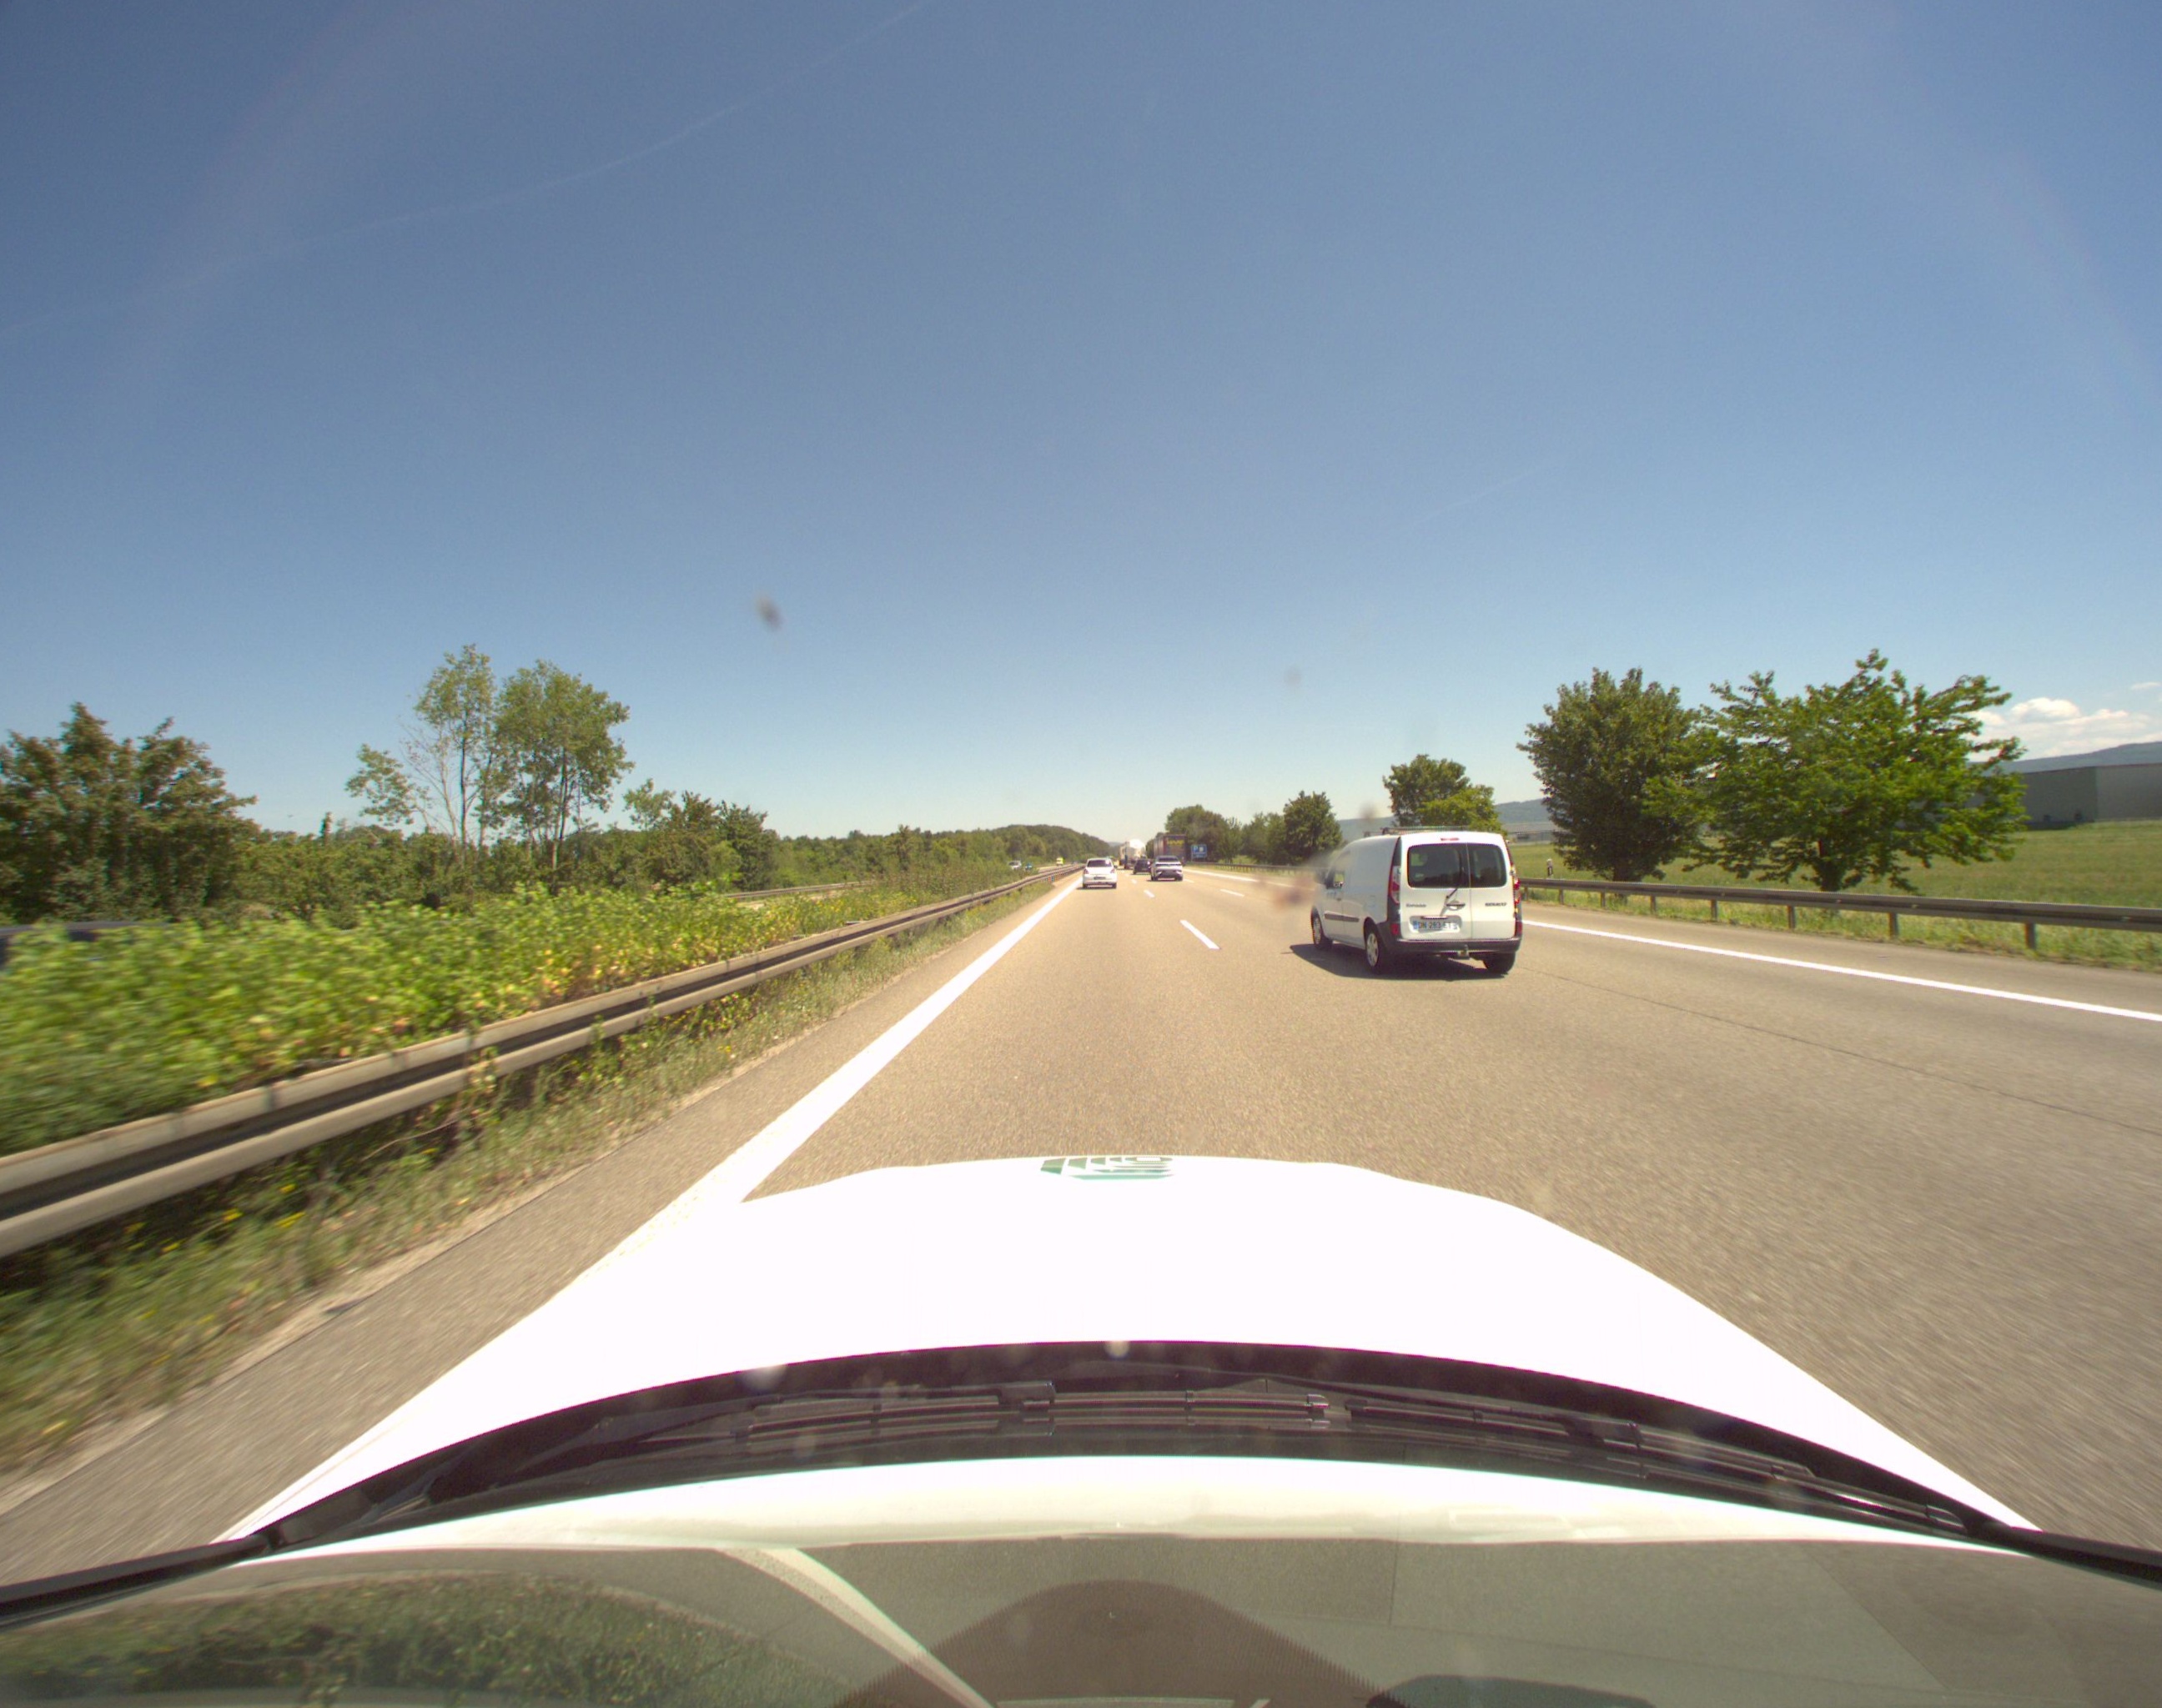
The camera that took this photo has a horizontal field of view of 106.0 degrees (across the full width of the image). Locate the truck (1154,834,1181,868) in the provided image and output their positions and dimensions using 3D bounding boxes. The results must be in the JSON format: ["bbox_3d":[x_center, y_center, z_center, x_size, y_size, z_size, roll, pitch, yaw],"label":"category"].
[{"bbox_3d":[11.181,-0.369,105.852,3.096,4.139,8.061,-1,0,3],"label":"truck"}]

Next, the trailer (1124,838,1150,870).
[{"bbox_3d":[7.373,0.030,108.745,2.901,4.069,12.422,-1,0,2],"label":"trailer"}]

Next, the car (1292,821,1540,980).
[{"bbox_3d":[4.584,0.561,12.027,1.846,1.863,4.704,-1,0,2],"label":"car"}]

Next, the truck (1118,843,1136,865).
[{"bbox_3d":[9.027,-0.040,161.883,3.381,4.214,12.091,-1,0,3],"label":"truck"}]

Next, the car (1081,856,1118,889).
[{"bbox_3d":[0.936,0.901,41.239,1.793,1.552,3.610,-1,0,1],"label":"car"}]

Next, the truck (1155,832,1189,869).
[{"bbox_3d":[10.842,-0.362,98.819,3.096,4.139,15.521,-1,0,3],"label":"truck"}]

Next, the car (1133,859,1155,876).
[{"bbox_3d":[5.678,1.225,74.076,1.843,1.523,3.959,-1,0,2],"label":"car"}]

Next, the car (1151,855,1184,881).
[{"bbox_3d":[5.590,0.878,52.872,1.795,1.603,4.382,-1,0,2],"label":"car"}]

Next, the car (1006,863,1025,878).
[{"bbox_3d":[-9.195,2.288,114.250,2.034,1.924,5.228,-4,0,1],"label":"car"}]

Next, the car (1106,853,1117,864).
[{"bbox_3d":[6.747,1.082,179.353,2.465,2.354,5.185,-1,0,3],"label":"car"}]

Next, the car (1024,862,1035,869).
[{"bbox_3d":[-10.694,2.346,169.389,1.555,1.424,3.478,-5,-1,7],"label":"car"}]
